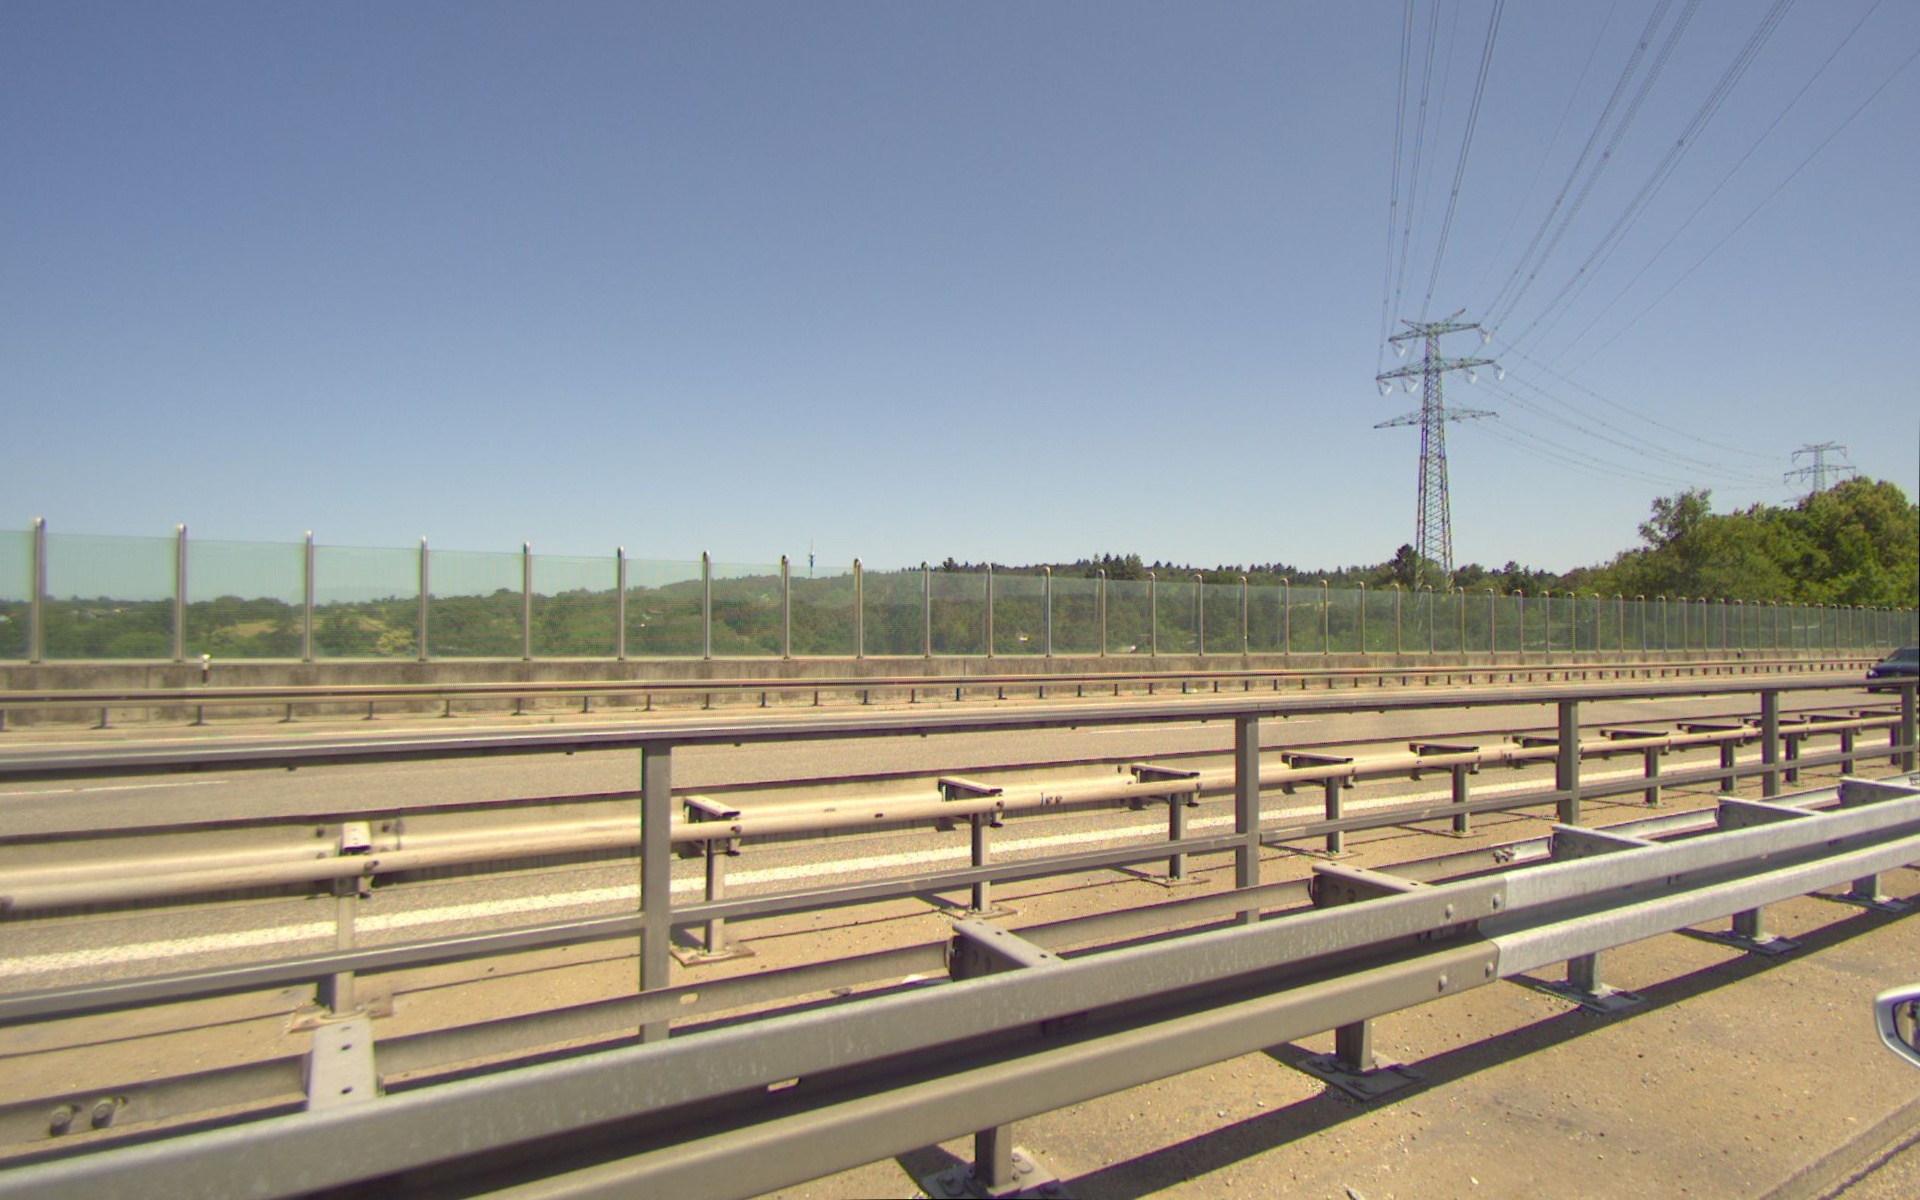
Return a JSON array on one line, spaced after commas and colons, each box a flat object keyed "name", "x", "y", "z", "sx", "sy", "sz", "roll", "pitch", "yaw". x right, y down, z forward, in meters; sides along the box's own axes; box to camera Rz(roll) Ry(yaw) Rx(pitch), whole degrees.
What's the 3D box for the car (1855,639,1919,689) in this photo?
[{"name": "car", "x": 30.043, "y": 2.006, "z": 31.470, "sx": 4.214, "sy": 1.404, "sz": 1.792, "roll": 2, "pitch": 0, "yaw": -31}]
